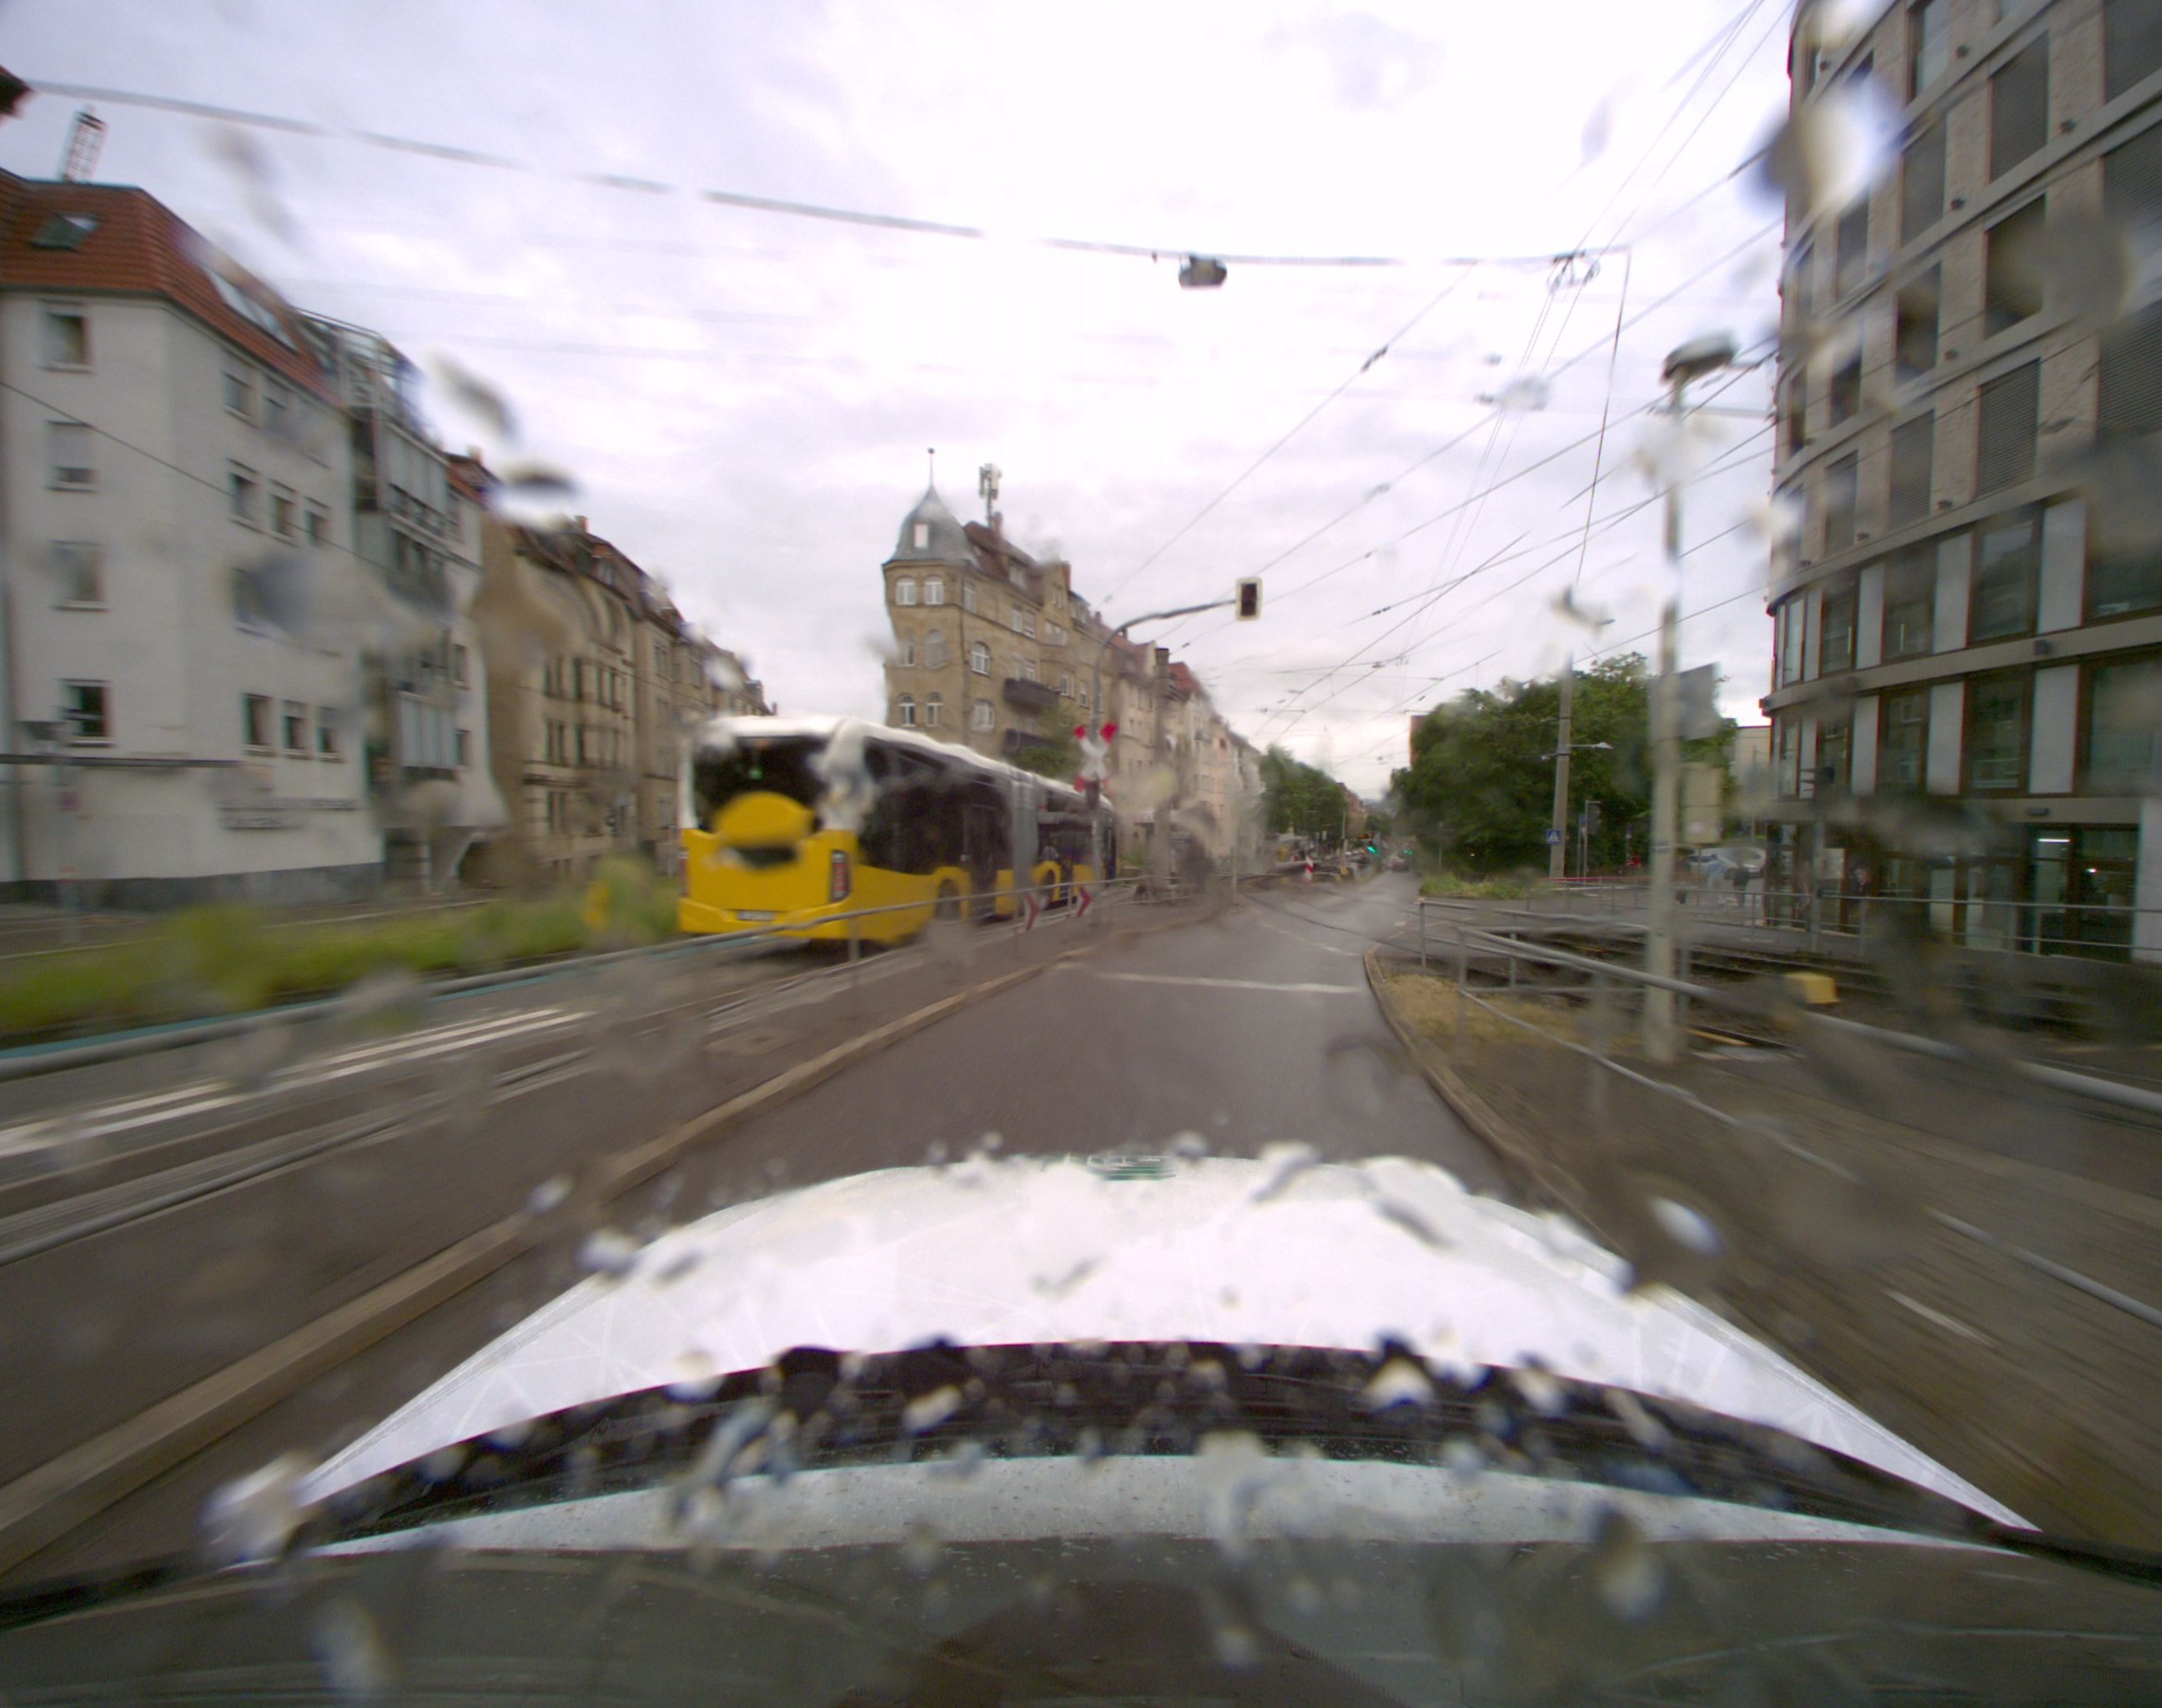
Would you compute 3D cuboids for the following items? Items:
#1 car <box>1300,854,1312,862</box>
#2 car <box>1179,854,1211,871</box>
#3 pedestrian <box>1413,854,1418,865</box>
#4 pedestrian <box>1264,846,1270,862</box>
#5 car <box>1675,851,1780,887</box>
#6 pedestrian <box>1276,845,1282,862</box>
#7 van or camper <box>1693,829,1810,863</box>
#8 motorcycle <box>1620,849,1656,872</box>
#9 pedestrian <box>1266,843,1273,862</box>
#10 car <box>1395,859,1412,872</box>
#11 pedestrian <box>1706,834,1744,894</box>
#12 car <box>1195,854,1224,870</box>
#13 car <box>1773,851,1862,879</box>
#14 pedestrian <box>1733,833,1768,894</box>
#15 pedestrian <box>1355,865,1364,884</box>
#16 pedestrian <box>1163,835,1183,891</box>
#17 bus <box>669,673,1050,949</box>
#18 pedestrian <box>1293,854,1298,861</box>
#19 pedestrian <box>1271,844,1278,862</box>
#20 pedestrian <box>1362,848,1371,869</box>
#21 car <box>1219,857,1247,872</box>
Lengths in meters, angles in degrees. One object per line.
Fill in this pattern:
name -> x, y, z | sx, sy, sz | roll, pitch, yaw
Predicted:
car -> 43.497, 0.710, 157.539 | 1.711, 1.515, 4.520 | 0, 0, 23
car -> 11.090, 0.860, 79.091 | 1.976, 1.533, 4.556 | 2, -1, 22
pedestrian -> 49.401, 0.795, 120.424 | 0.689, 1.695, 0.558 | 0, 0, 23
pedestrian -> 19.109, 0.001, 83.687 | 0.511, 1.605, 0.566 | -2, -2, 22
car -> 38.429, 0.851, 48.514 | 2.005, 2.013, 4.467 | 1, 0, -29
pedestrian -> 22.127, -0.073, 90.971 | 0.511, 1.838, 0.766 | -2, -2, 22
van or camper -> 40.875, -0.456, 49.783 | 2.003, 1.834, 5.140 | -1, -1, -24
motorcycle -> 35.057, 0.408, 51.217 | 2.437, 1.374, 0.817 | 1, 3, -30
pedestrian -> 19.222, -0.137, 83.021 | 0.556, 1.850, 0.602 | -2, -2, 22
car -> 38.789, 1.378, 98.011 | 1.836, 1.473, 4.021 | -1, 0, 20
pedestrian -> 22.073, 0.343, 27.927 | 0.651, 2.014, 0.894 | -1, 0, 9
car -> 13.328, 0.805, 84.294 | 1.906, 1.622, 4.560 | -1, -1, 23
car -> 47.558, 0.729, 52.665 | 1.742, 1.684, 3.870 | -1, -1, -27
pedestrian -> 22.761, 0.321, 27.715 | 0.586, 2.014, 0.896 | -1, 0, 17
pedestrian -> 23.075, 1.699, 67.373 | 0.645, 1.562, 0.687 | 0, -1, 22
pedestrian -> 2.917, 0.280, 25.786 | 0.572, 1.752, 0.545 | -1, -1, 11
bus -> -3.101, -0.489, 14.945 | 2.572, 3.469, 9.141 | -1, -1, 14
pedestrian -> 26.539, 0.420, 100.674 | 0.545, 0.872, 0.617 | -2, -2, 22
pedestrian -> 20.839, -0.112, 87.653 | 0.511, 1.838, 0.766 | -2, -2, 22
pedestrian -> 24.945, 0.375, 71.171 | 0.645, 1.784, 0.852 | 0, -1, 22
car -> 17.268, 1.211, 92.525 | 1.975, 1.732, 4.840 | -1, -2, 24
